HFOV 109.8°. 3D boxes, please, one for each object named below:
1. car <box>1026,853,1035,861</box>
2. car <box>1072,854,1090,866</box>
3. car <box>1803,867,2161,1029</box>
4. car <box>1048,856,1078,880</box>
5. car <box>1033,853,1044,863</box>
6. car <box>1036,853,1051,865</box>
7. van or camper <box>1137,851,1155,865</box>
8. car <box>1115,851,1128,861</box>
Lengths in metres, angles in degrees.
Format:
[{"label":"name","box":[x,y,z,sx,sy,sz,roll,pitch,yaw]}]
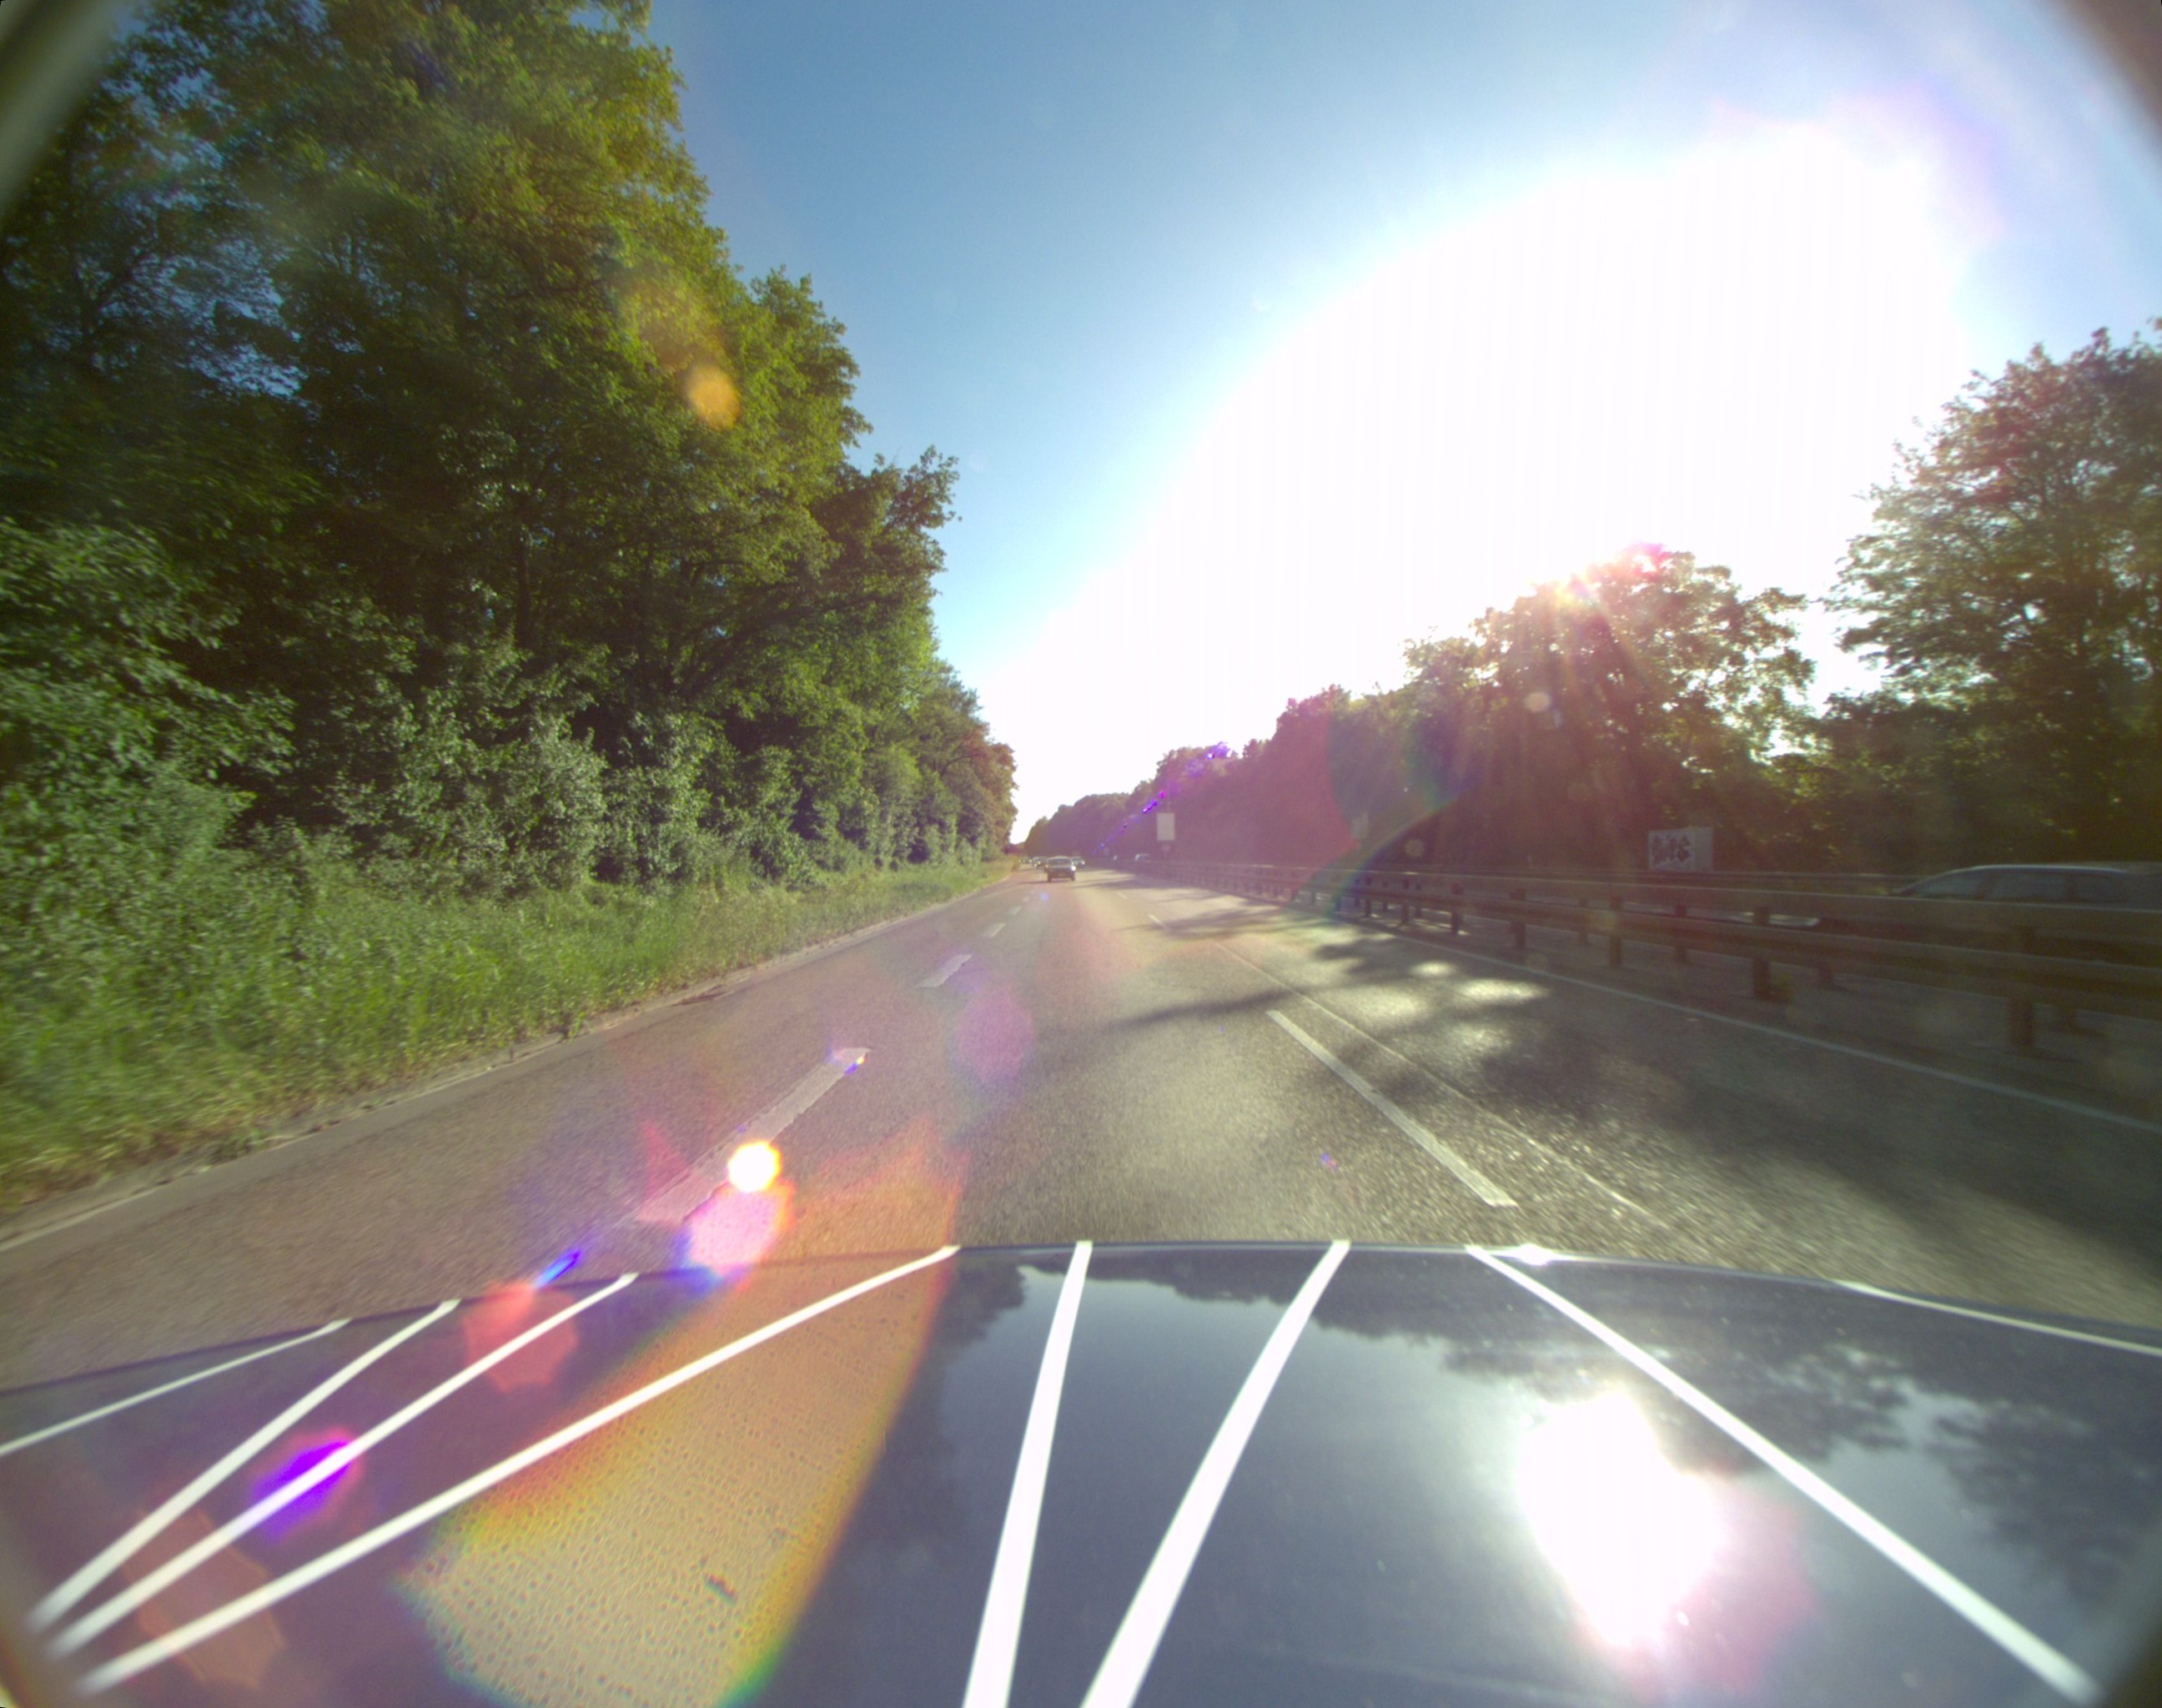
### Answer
[{"label":"car","box":[-12.045,0.761,180.366,1.999,1.761,3.998,-1,0,-5]},{"label":"car","box":[0.033,0.769,99.312,1.905,1.453,4.353,-1,0,-6]},{"label":"car","box":[11.097,0.926,8.745,1.670,1.458,4.091,-1,0,-1]},{"label":"car","box":[-1.190,0.845,49.236,1.801,1.453,4.355,-1,0,-2]},{"label":"car","box":[-7.628,0.647,136.277,1.999,1.761,3.998,-1,0,-5]},{"label":"car","box":[-5.628,0.695,113.764,1.999,1.761,3.998,-1,0,-5]},{"label":"van or camper","box":[8.672,0.543,101.904,1.876,1.756,4.285,-1,0,-2]},{"label":"car","box":[7.732,0.388,146.590,1.999,1.868,4.423,-1,0,-4]}]
